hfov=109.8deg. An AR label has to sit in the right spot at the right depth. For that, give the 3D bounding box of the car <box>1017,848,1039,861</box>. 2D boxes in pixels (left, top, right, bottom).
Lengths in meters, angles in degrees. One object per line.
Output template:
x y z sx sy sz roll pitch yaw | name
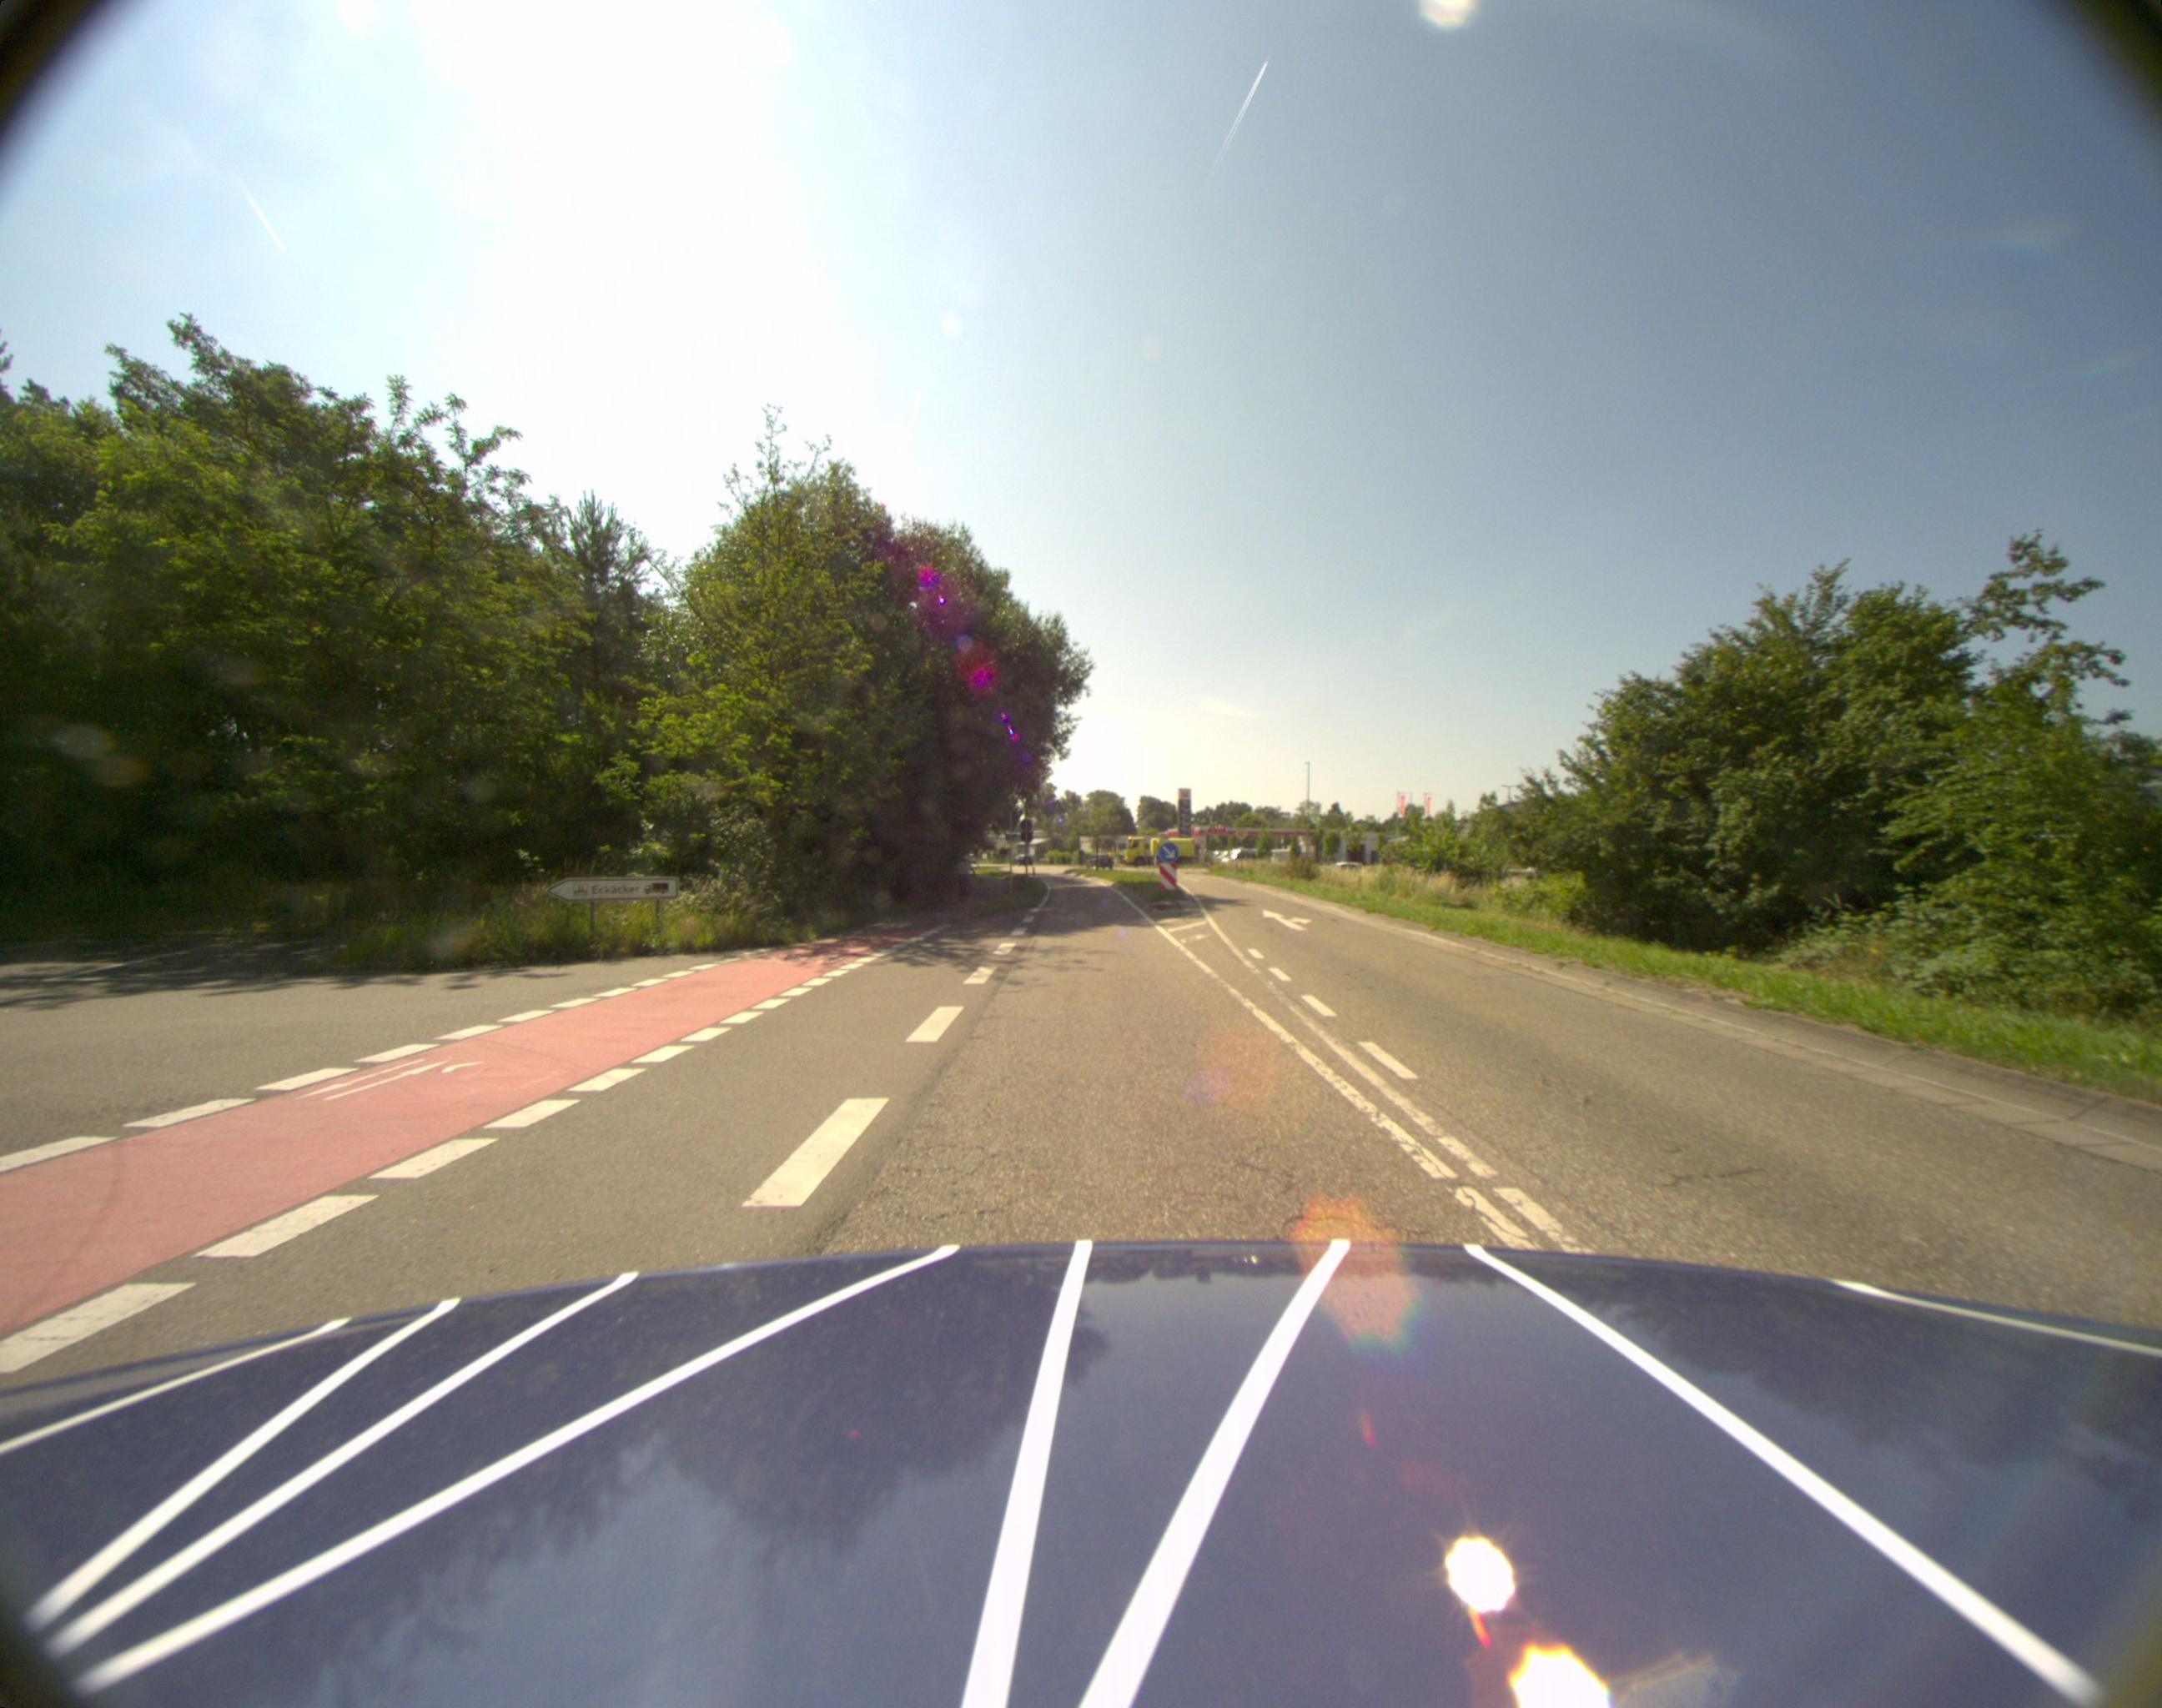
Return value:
-7.066 0.031 101.053 1.831 1.630 3.830 0 0 -21 | car

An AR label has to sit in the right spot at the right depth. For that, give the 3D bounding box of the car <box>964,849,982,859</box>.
-17.640 -0.020 124.450 1.832 1.630 3.829 0 0 -26 | car

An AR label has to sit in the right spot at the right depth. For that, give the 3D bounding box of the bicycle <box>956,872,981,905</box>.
-4.155 1.268 28.221 0.591 1.117 1.520 -2 0 3 | bicycle

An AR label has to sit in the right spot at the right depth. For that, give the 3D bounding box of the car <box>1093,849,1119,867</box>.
2.245 0.360 70.345 1.829 1.630 3.834 0 0 -7 | car

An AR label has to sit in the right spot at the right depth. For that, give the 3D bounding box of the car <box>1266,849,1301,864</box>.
26.440 0.335 99.391 4.004 1.936 1.996 0 1 -20 | car

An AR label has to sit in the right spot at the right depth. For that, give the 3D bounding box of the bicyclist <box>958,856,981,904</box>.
-4.159 0.950 28.390 0.638 1.720 0.978 -1 1 3 | bicyclist

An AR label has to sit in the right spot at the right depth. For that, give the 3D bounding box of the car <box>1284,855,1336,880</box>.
20.224 1.149 67.246 3.997 2.155 2.000 0 1 -1 | car

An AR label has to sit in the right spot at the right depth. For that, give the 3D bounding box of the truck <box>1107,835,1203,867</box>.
8.157 -0.344 84.780 10.333 3.374 3.884 0 1 -1 | truck

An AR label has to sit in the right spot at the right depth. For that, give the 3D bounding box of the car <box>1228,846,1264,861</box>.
21.115 -0.098 97.050 4.004 1.936 1.996 0 1 -20 | car

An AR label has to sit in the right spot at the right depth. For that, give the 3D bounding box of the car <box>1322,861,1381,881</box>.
21.723 1.360 61.031 3.997 1.477 2.000 0 0 -1 | car
